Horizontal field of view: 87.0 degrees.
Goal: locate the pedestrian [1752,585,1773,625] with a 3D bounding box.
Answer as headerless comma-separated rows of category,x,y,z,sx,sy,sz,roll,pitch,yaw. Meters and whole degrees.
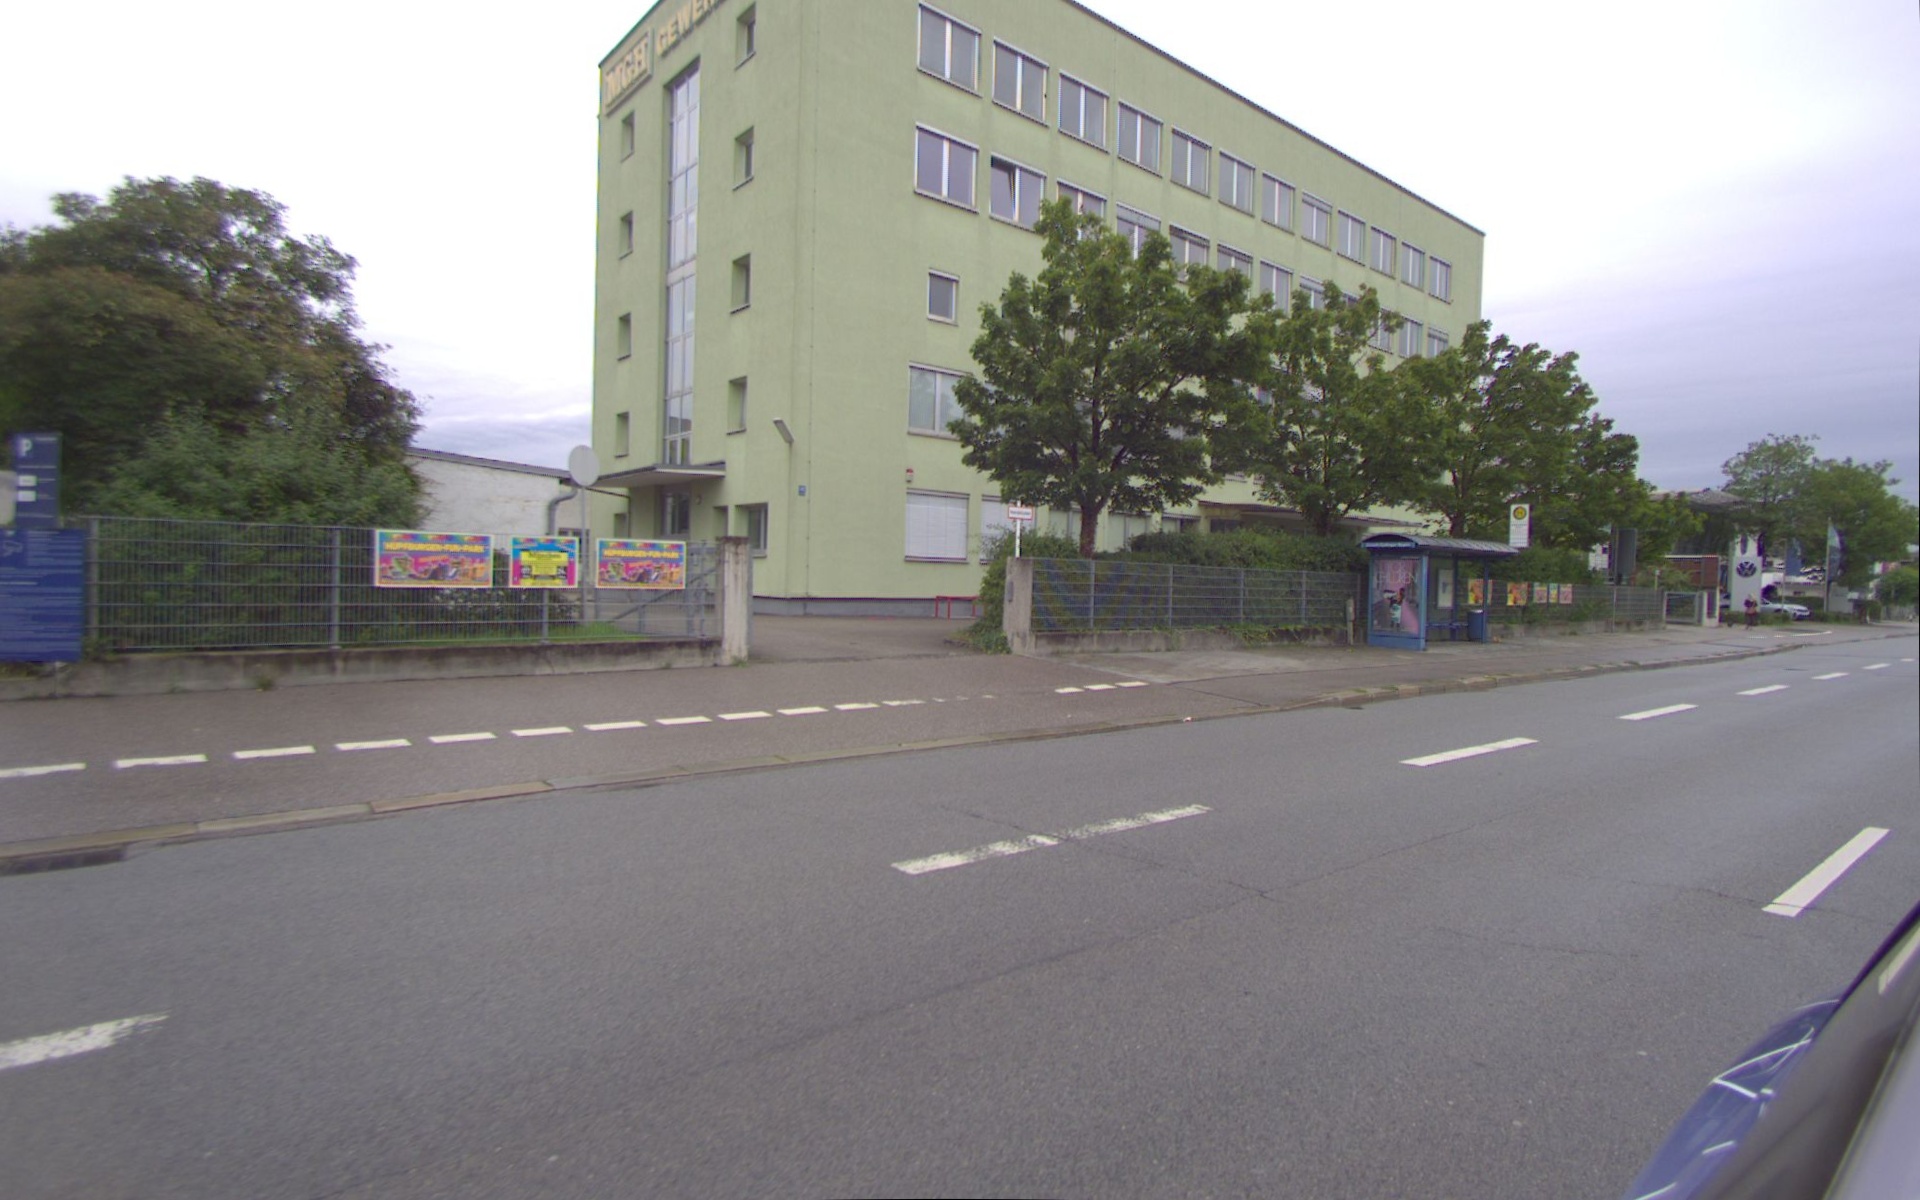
pedestrian,37.847,0.218,47.732,0.676,1.844,0.682,0,0,-41

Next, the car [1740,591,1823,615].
car,55.348,0.184,68.291,1.763,1.528,4.009,0,1,-18

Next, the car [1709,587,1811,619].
car,49.118,0.136,62.236,4.603,1.865,1.784,1,0,28
